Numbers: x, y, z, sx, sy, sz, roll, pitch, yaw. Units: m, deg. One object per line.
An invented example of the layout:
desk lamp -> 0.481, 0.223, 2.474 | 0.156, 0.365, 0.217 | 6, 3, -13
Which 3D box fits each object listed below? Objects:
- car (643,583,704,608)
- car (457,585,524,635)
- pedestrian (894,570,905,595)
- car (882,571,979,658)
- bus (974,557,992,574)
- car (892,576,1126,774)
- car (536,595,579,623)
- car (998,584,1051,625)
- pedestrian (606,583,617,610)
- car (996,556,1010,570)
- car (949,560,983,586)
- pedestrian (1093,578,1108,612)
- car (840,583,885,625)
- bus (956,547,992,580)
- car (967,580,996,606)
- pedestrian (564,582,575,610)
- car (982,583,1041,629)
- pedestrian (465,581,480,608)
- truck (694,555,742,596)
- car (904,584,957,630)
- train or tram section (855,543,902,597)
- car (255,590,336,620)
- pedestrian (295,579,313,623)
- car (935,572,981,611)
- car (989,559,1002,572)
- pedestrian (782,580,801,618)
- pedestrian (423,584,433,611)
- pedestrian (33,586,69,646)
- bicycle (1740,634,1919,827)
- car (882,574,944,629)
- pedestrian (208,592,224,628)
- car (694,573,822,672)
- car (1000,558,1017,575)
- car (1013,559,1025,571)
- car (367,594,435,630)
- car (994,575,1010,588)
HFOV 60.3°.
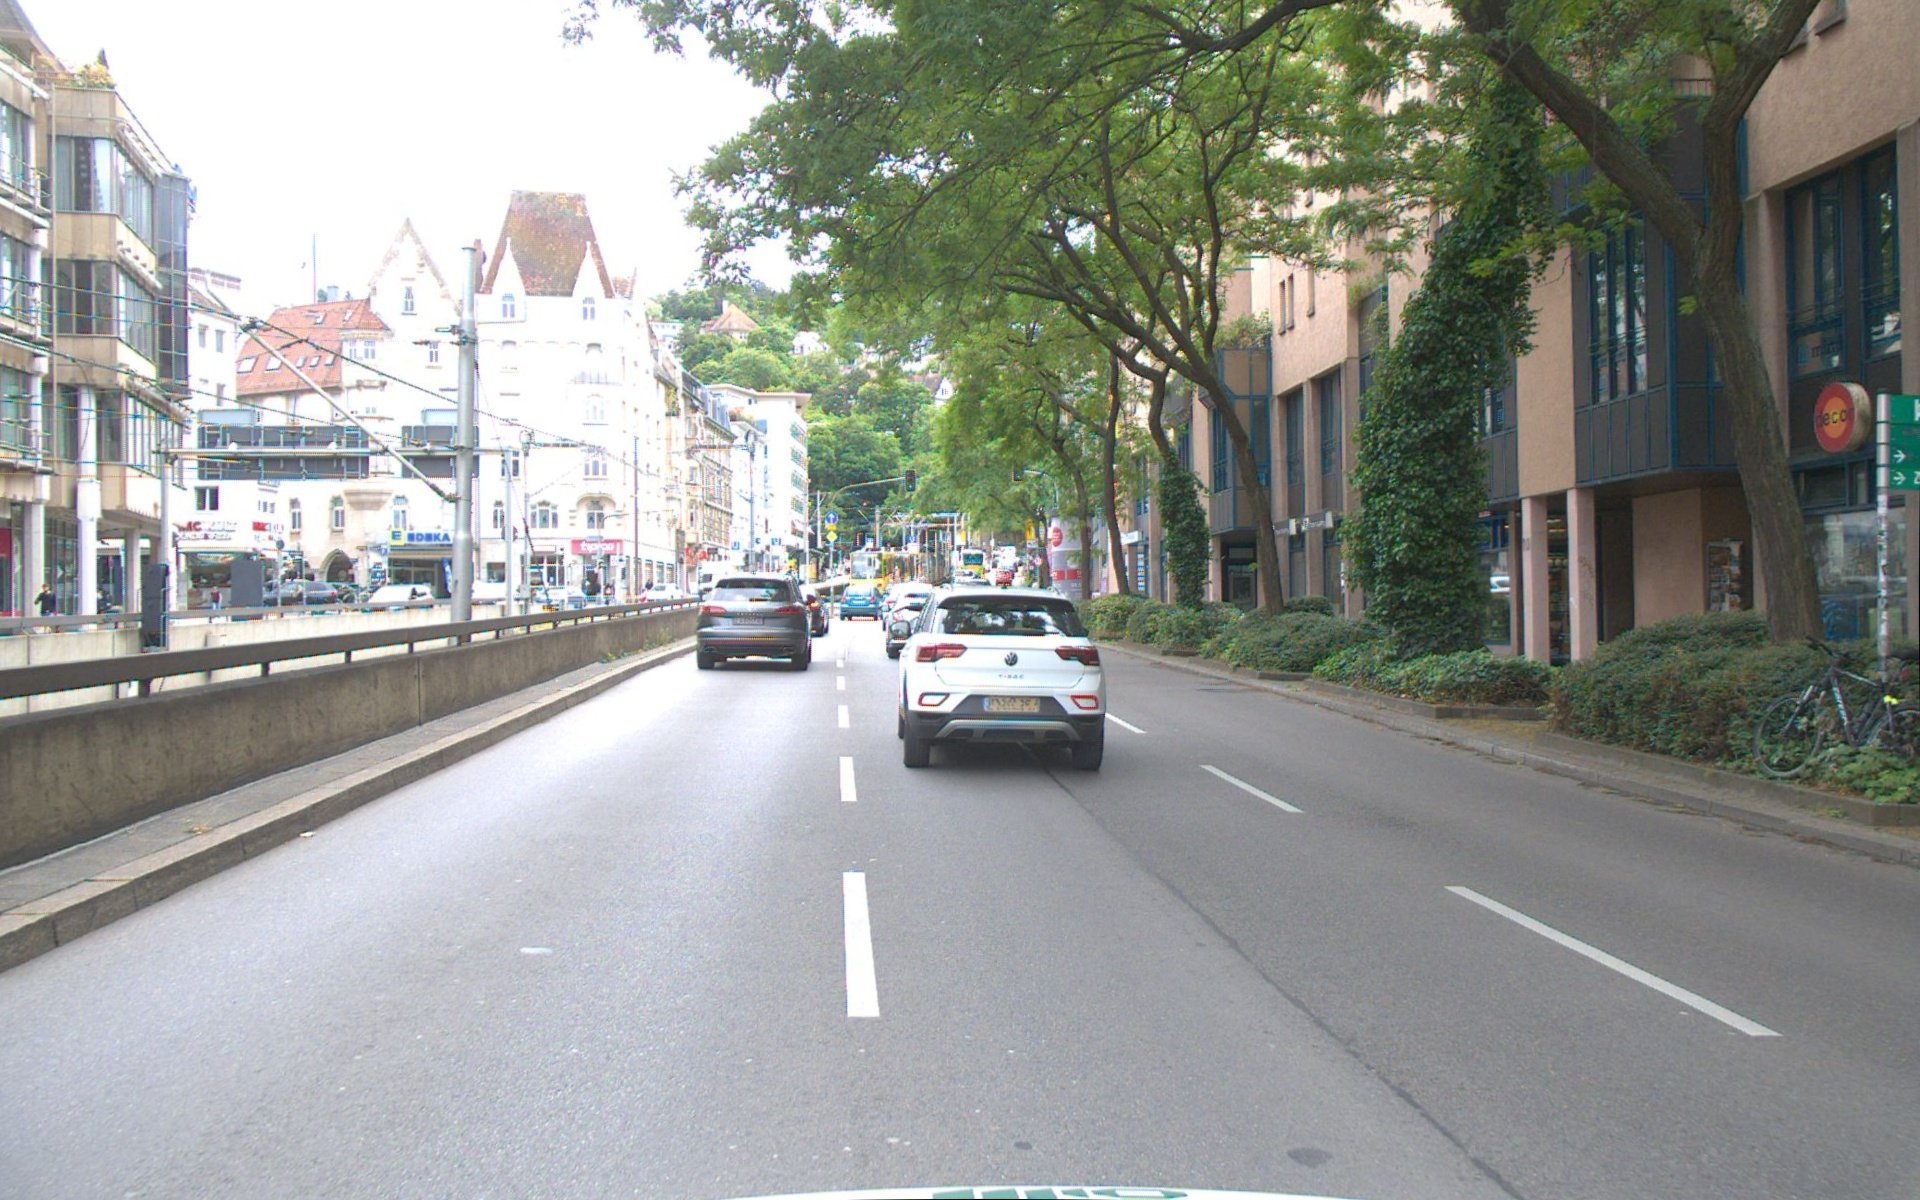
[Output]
car -> -19.298, -0.293, 111.536 | 1.715, 1.588, 4.508 | 1, 0, 27
car -> -19.142, 0.401, 67.639 | 1.798, 1.874, 4.599 | 3, 0, -6
pedestrian -> -4.236, -1.218, 115.369 | 0.671, 1.741, 0.712 | 0, 1, 2
car -> -0.691, 0.287, 35.289 | 1.847, 1.713, 4.158 | 1, 0, -4
bus -> 2.887, -4.316, 208.870 | 1.953, 2.049, 3.998 | 1, 0, -2
car -> 0.325, 0.616, 15.692 | 1.801, 1.611, 4.153 | 1, 0, -4
car -> -23.020, 0.496, 94.716 | 1.630, 1.527, 4.041 | -1, 0, -2
car -> 3.340, 0.237, 86.379 | 2.317, 2.049, 5.146 | 1, 0, -2
pedestrian -> -22.961, -0.231, 109.032 | 0.499, 1.811, 0.577 | 0, 0, 17
car -> 5.133, -4.349, 196.058 | 1.638, 1.588, 3.679 | 1, 0, 2
car -> 0.559, -2.248, 137.439 | 2.314, 2.049, 5.151 | 1, 0, 6
pedestrian -> 8.643, -0.323, 101.482 | 0.819, 2.049, 0.764 | 1, 0, -2
car -> -4.195, 0.174, 71.026 | 1.847, 1.713, 4.158 | 1, 0, -4
bus -> 1.576, -3.762, 174.084 | 3.301, 3.118, 13.328 | 1, 0, 2
car -> 1.527, -0.492, 115.666 | 1.845, 1.713, 4.163 | 1, 0, 3
pedestrian -> -25.388, -0.243, 107.438 | 0.563, 1.811, 0.512 | 0, 0, 7
car -> 2.334, 0.258, 76.080 | 2.317, 2.049, 5.146 | 1, 0, -2
pedestrian -> -31.627, -0.351, 107.275 | 0.765, 1.735, 0.654 | 0, 0, 8
truck -> -19.366, -1.923, 132.642 | 2.219, 3.130, 7.378 | 1, 0, 5
car -> -1.409, 0.311, 76.441 | 2.317, 2.049, 5.146 | 1, 0, -2
train or tram section -> -5.795, -2.164, 118.913 | 2.776, 3.743, 5.754 | 1, 1, 3
car -> -35.319, 0.270, 87.933 | 3.975, 1.527, 1.658 | -1, 0, -23
pedestrian -> -27.567, 0.043, 69.534 | 0.499, 1.811, 0.577 | 0, 0, 5
car -> -0.152, -0.467, 91.726 | 2.317, 2.049, 5.146 | 1, 0, -2
car -> 4.897, -4.689, 225.958 | 1.638, 1.588, 3.679 | 1, 0, 2
pedestrian -> -7.763, -0.064, 76.156 | 0.748, 1.751, 0.638 | 0, 0, 2
pedestrian -> -35.907, -0.177, 111.570 | 0.565, 1.811, 0.510 | 0, 0, -11
pedestrian -> -28.221, 0.500, 51.349 | 0.716, 1.843, 0.739 | 1, 0, -3
bicycle -> 6.183, 0.871, 11.661 | 0.355, 1.222, 1.565 | -1, 0, -12
car -> -1.592, 0.038, 54.559 | 1.847, 1.713, 4.158 | 1, 0, -4
pedestrian -> -37.096, 0.489, 82.470 | 0.499, 1.811, 0.577 | 0, 0, 5
car -> -3.578, 0.380, 29.931 | 1.953, 1.664, 3.998 | 0, 0, -2
car -> 6.166, -4.239, 211.333 | 1.953, 2.049, 3.999 | 1, 0, -1
car -> 8.322, -4.949, 233.033 | 1.638, 1.588, 3.679 | 1, 0, 2
car -> -24.588, 0.502, 72.880 | 1.630, 1.527, 4.411 | -1, 0, -2
car -> 4.077, -1.791, 160.559 | 1.549, 1.193, 3.679 | 1, 0, 2
